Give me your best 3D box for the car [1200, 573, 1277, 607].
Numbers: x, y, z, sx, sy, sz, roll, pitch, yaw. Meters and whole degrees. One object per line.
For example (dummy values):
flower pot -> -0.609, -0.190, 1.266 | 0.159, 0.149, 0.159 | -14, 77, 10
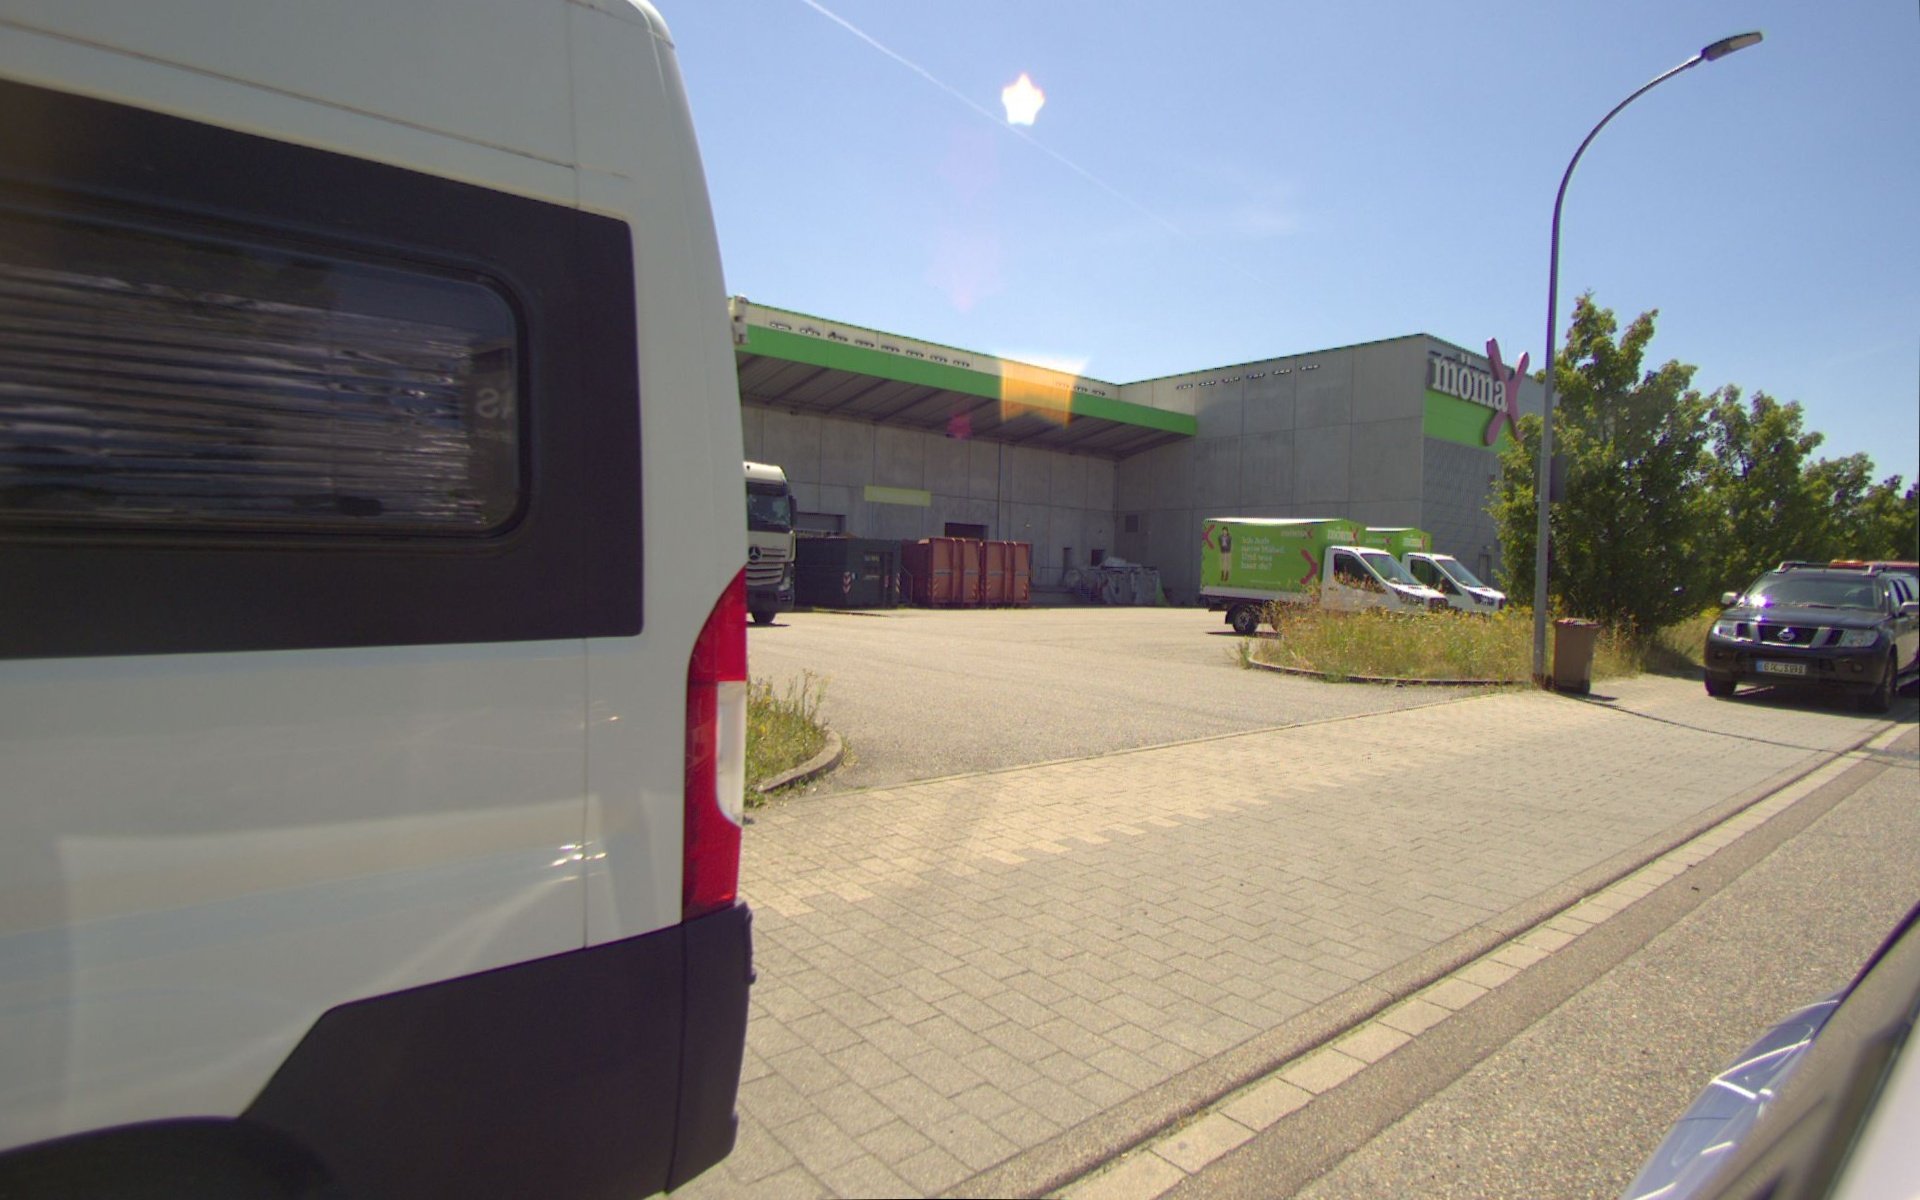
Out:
car -> 13.717, -0.527, 49.948 | 1.521, 1.552, 3.398 | 0, 2, -36

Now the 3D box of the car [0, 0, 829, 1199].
car -> -3.303, 0.084, 0.743 | 6.040, 2.528, 2.274 | 0, 2, -39

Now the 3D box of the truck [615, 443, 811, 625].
truck -> -6.132, -1.526, 24.674 | 2.754, 3.923, 5.075 | -1, 2, -39

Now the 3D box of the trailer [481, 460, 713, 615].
trailer -> -11.760, -1.830, 31.496 | 2.754, 3.923, 12.649 | -1, 2, -39

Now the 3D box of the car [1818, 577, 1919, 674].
car -> 17.078, 0.413, 18.354 | 3.931, 1.549, 1.742 | 0, 4, -42

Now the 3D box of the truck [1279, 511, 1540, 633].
truck -> 11.786, -0.795, 26.958 | 2.267, 2.907, 5.911 | 0, 2, -42

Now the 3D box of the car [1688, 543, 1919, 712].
car -> 12.044, 0.268, 13.968 | 5.064, 1.907, 1.998 | 0, 3, -40

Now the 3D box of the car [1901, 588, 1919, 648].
car -> 24.642, 0.458, 24.794 | 4.751, 1.400, 1.702 | 0, 4, -40

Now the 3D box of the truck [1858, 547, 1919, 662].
truck -> 20.380, 0.089, 21.203 | 4.313, 2.208, 1.683 | 0, 4, -41

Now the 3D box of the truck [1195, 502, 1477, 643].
truck -> 8.753, -0.703, 24.127 | 2.372, 2.949, 5.834 | 0, 2, -40
